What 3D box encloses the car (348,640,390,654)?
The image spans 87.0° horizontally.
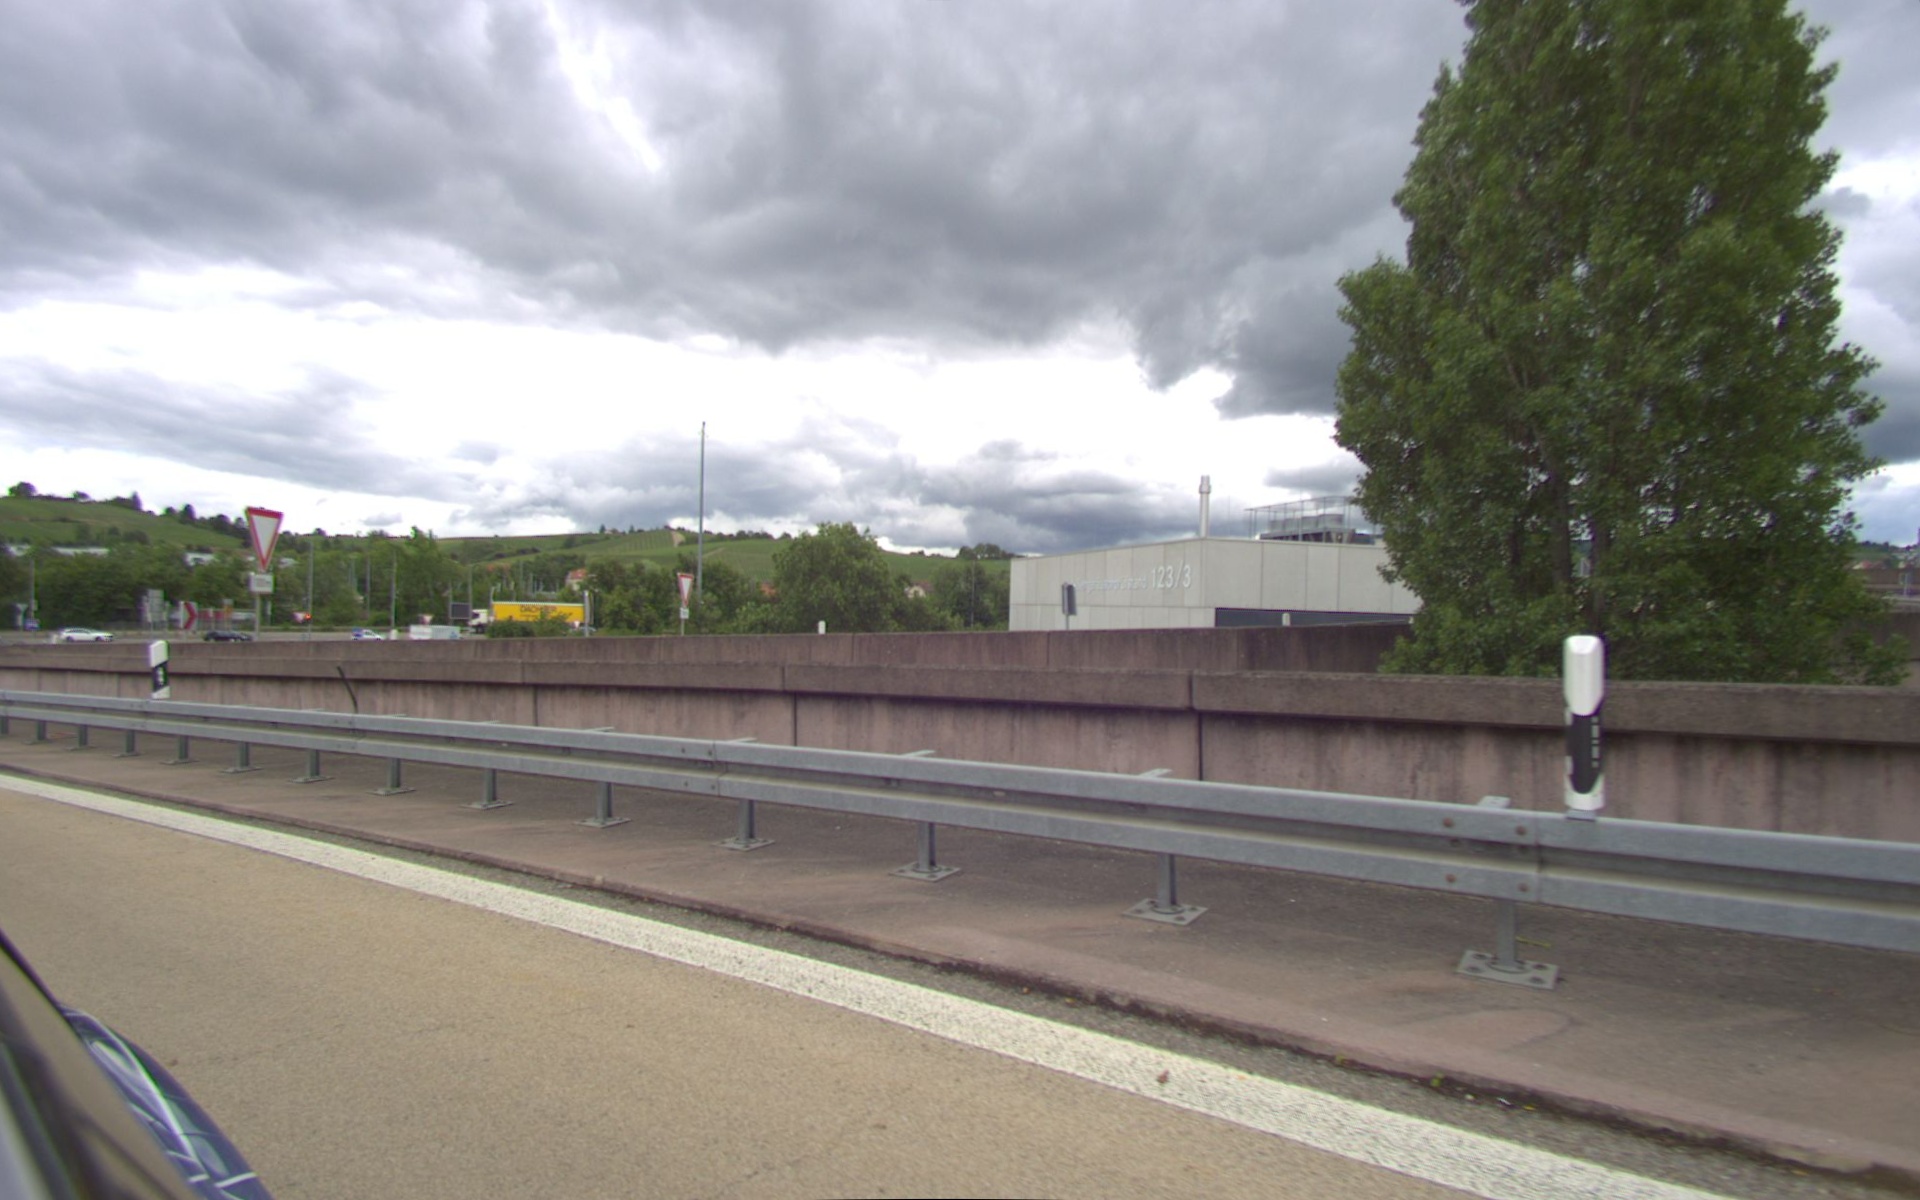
[{"bbox_3d":[-65.591,5.182,112.359,3.688,1.384,1.632,0,1,-11],"label":"car"}]

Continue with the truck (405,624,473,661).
[{"bbox_3d":[-48.797,3.974,94.974,2.322,3.288,6.985,2,-2,4],"label":"truck"}]

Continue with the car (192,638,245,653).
[{"bbox_3d":[-80.609,4.941,110.020,4.224,1.568,1.953,0,1,-12],"label":"car"}]

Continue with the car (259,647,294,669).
[{"bbox_3d":[-48.753,4.136,72.200,1.885,1.425,4.377,5,-5,-33],"label":"car"}]

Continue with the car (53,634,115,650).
[{"bbox_3d":[-93.425,4.521,107.972,4.638,1.572,1.882,0,1,-11],"label":"car"}]

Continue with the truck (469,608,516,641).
[{"bbox_3d":[-60.663,3.158,131.317,5.019,4.236,2.641,1,0,-10],"label":"truck"}]

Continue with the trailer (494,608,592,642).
[{"bbox_3d":[-54.450,3.277,132.431,11.467,4.236,2.641,1,0,-10],"label":"trailer"}]
